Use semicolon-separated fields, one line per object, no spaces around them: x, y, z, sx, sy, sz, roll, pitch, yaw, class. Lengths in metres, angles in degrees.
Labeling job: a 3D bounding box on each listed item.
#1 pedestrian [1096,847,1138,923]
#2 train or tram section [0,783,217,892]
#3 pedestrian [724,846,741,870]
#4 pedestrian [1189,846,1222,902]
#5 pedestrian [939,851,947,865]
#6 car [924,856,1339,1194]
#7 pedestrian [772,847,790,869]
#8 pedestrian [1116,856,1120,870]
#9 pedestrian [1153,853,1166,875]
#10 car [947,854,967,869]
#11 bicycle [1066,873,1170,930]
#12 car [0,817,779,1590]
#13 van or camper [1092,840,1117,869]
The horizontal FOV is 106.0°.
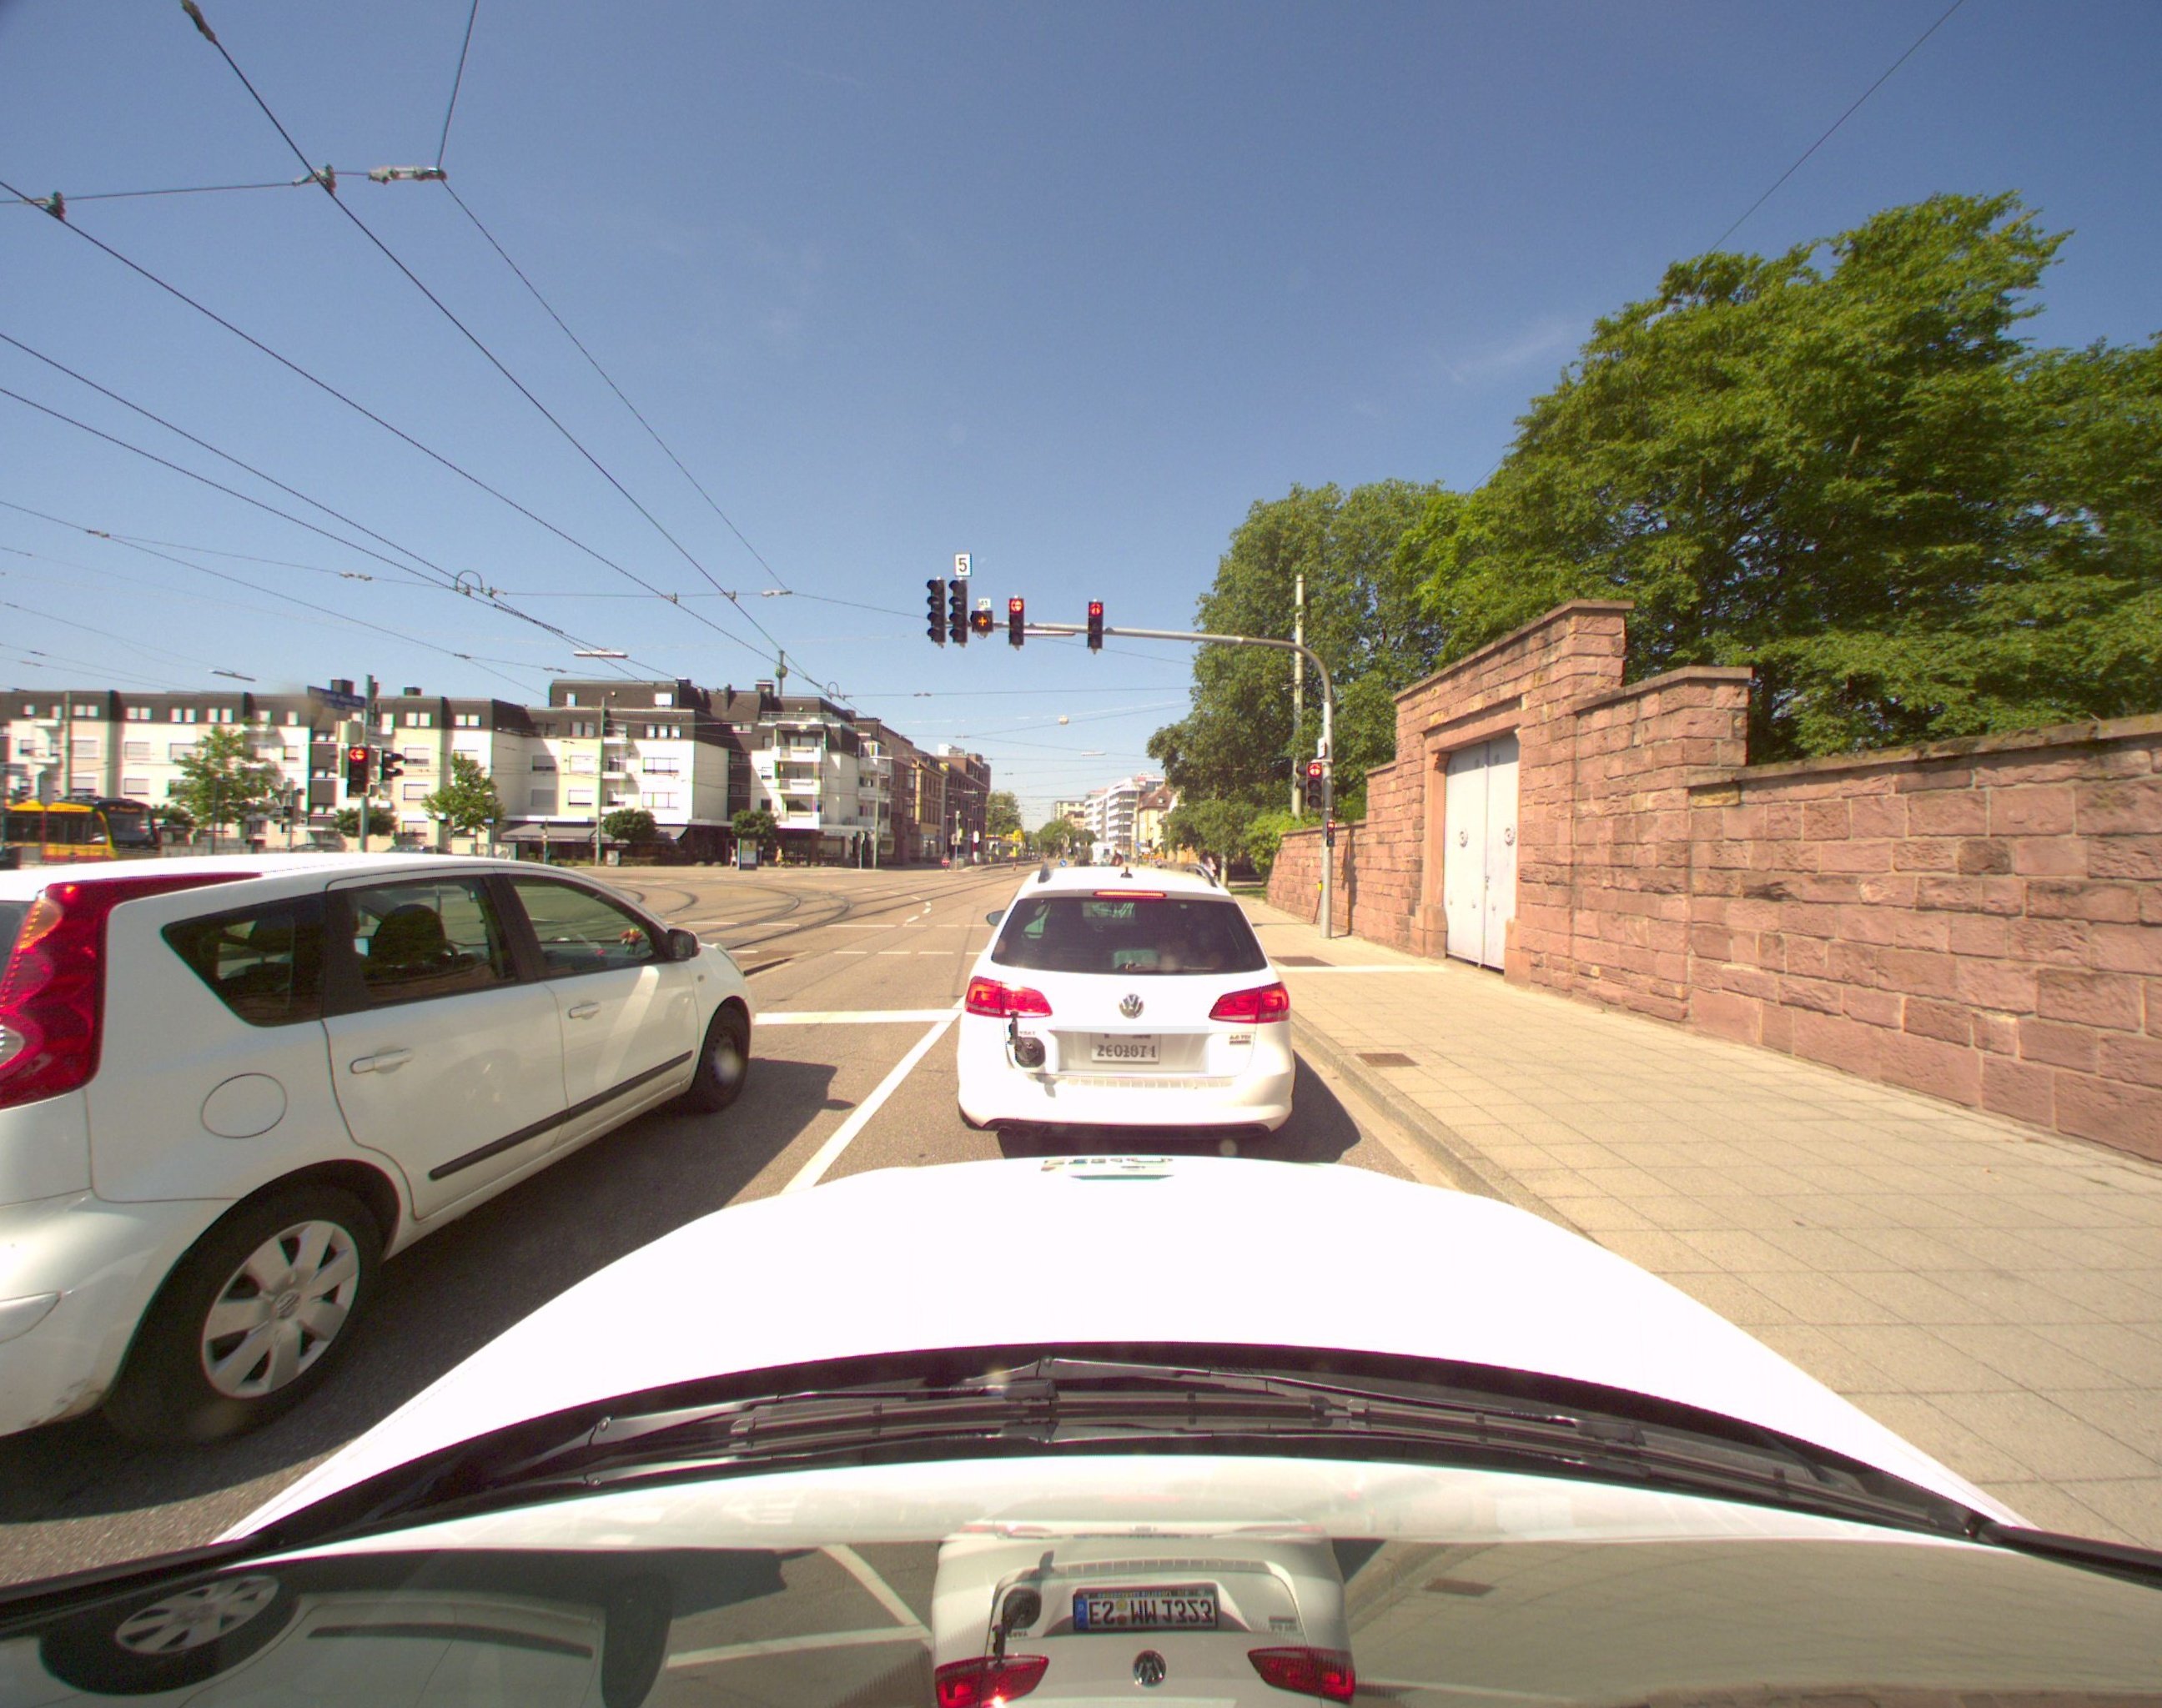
0.757;0.636;17.325;0.746;1.571;0.673;-1;0;-11;pedestrian
-54.717;-0.682;41.514;16.149;5.150;4.735;-1;-1;0;train or tram section
-26.167;0.293;61.118;0.980;1.743;0.854;0;-2;-41;pedestrian
3.782;0.605;24.759;0.948;1.651;0.977;-1;-1;7;pedestrian
-17.766;0.536;104.812;0.860;1.743;0.973;-1;-1;-4;pedestrian
0.274;0.748;5.551;1.801;1.448;4.001;0;0;1;car
-24.018;0.334;65.201;0.853;1.743;0.981;-2;-1;28;pedestrian
6.367;1.609;141.286;0.687;2.325;1.233;-1;-1;3;pedestrian
6.382;0.822;66.275;0.859;1.743;0.974;-1;-1;-1;pedestrian
-13.828;0.867;90.895;1.736;1.618;3.997;-1;-1;-1;car
0.755;0.965;16.759;2.021;1.090;0.707;2;-1;-12;bicycle
-2.906;0.693;3.555;1.636;1.566;3.805;-1;1;1;car
2.530;0.102;89.324;2.558;3.093;5.703;-1;-1;1;van or camper
